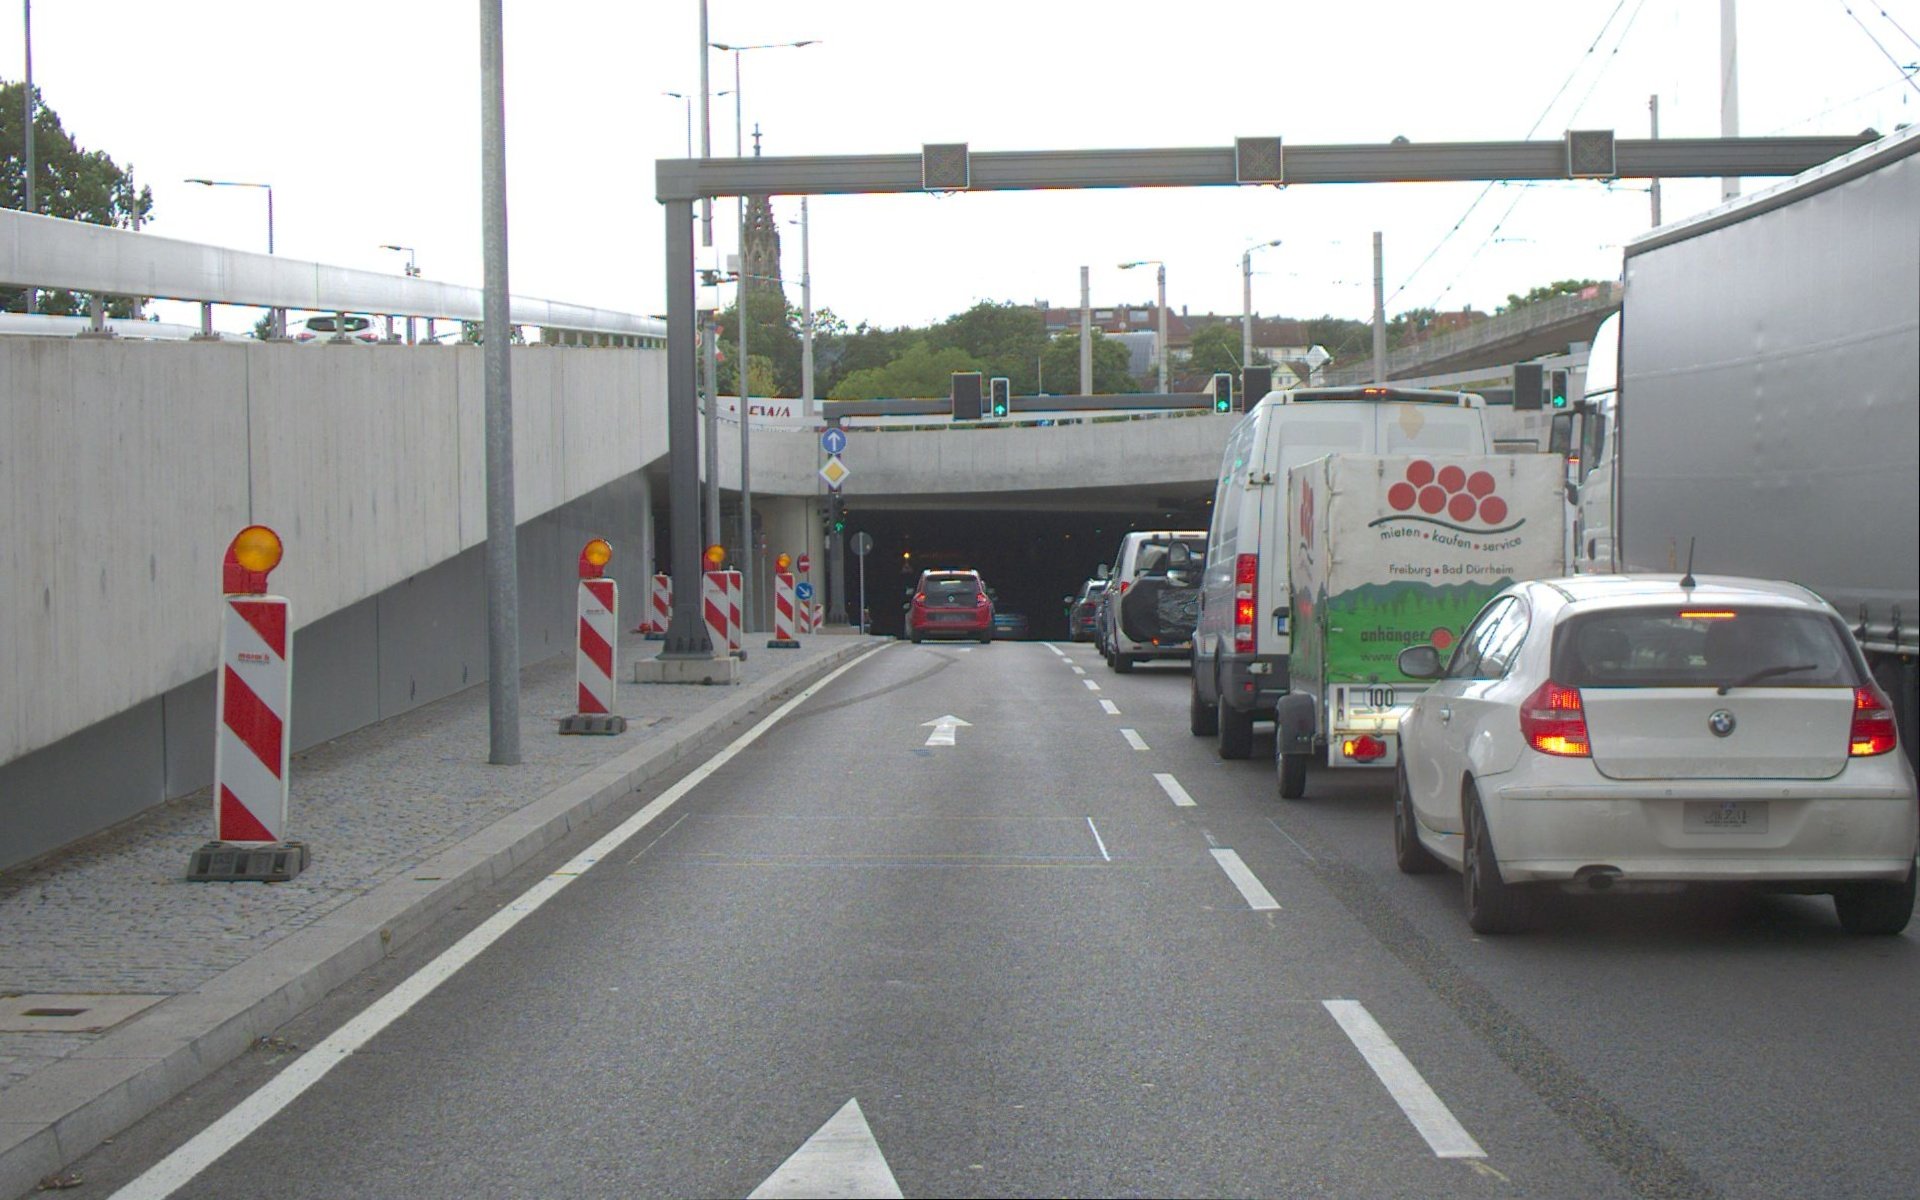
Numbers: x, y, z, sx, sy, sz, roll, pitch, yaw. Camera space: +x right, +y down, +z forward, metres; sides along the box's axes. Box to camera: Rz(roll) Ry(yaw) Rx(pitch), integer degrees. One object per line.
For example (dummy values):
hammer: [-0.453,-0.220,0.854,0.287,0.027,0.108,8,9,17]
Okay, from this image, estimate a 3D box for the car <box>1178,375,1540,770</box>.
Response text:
car: [2.859,-0.201,25.962,2.058,2.619,5.942,1,0,0]

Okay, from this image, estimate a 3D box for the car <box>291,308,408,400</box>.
car: [-11.662,-4.687,65.843,1.743,1.427,3.776,3,0,-4]

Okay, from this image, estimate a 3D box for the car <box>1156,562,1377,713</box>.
car: [2.949,0.338,33.837,1.763,1.378,4.039,-1,0,-1]

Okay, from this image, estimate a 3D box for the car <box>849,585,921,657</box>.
car: [-2.203,0.596,101.814,1.993,2.007,4.000,0,1,0]

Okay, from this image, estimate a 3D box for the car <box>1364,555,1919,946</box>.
car: [2.842,0.538,14.932,1.716,1.393,4.347,2,1,1]

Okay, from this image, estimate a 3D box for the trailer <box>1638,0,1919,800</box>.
trailer: [7.195,-1.211,20.575,3.805,4.615,12.114,1,1,0]

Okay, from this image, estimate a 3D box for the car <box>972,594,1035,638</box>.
car: [1.452,0.515,116.420,1.993,1.382,4.000,0,1,-2]

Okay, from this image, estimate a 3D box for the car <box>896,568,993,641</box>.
car: [-0.349,0.114,72.090,1.660,1.483,3.567,0,-1,-6]

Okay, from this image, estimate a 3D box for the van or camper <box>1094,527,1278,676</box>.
van or camper: [2.934,-0.029,45.747,1.993,1.839,5.508,1,1,-1]

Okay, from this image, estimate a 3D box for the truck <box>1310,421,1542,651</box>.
truck: [6.873,-0.915,51.632,2.650,3.174,7.426,-1,0,2]

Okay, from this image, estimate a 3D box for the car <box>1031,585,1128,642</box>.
car: [2.675,0.321,77.509,1.663,1.243,3.567,0,-1,-7]

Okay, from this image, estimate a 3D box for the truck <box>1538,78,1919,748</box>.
truck: [7.211,-1.337,27.564,3.805,4.615,7.443,1,1,0]

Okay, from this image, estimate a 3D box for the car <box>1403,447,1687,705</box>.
car: [6.727,-0.336,40.420,2.075,2.763,7.327,0,1,0]

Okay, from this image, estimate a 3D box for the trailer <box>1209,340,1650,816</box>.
trailer: [2.879,-0.142,22.231,2.103,2.630,4.810,3,0,1]

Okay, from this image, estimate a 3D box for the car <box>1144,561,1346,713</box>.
car: [3.164,0.379,38.850,1.681,1.539,3.693,1,1,-4]
